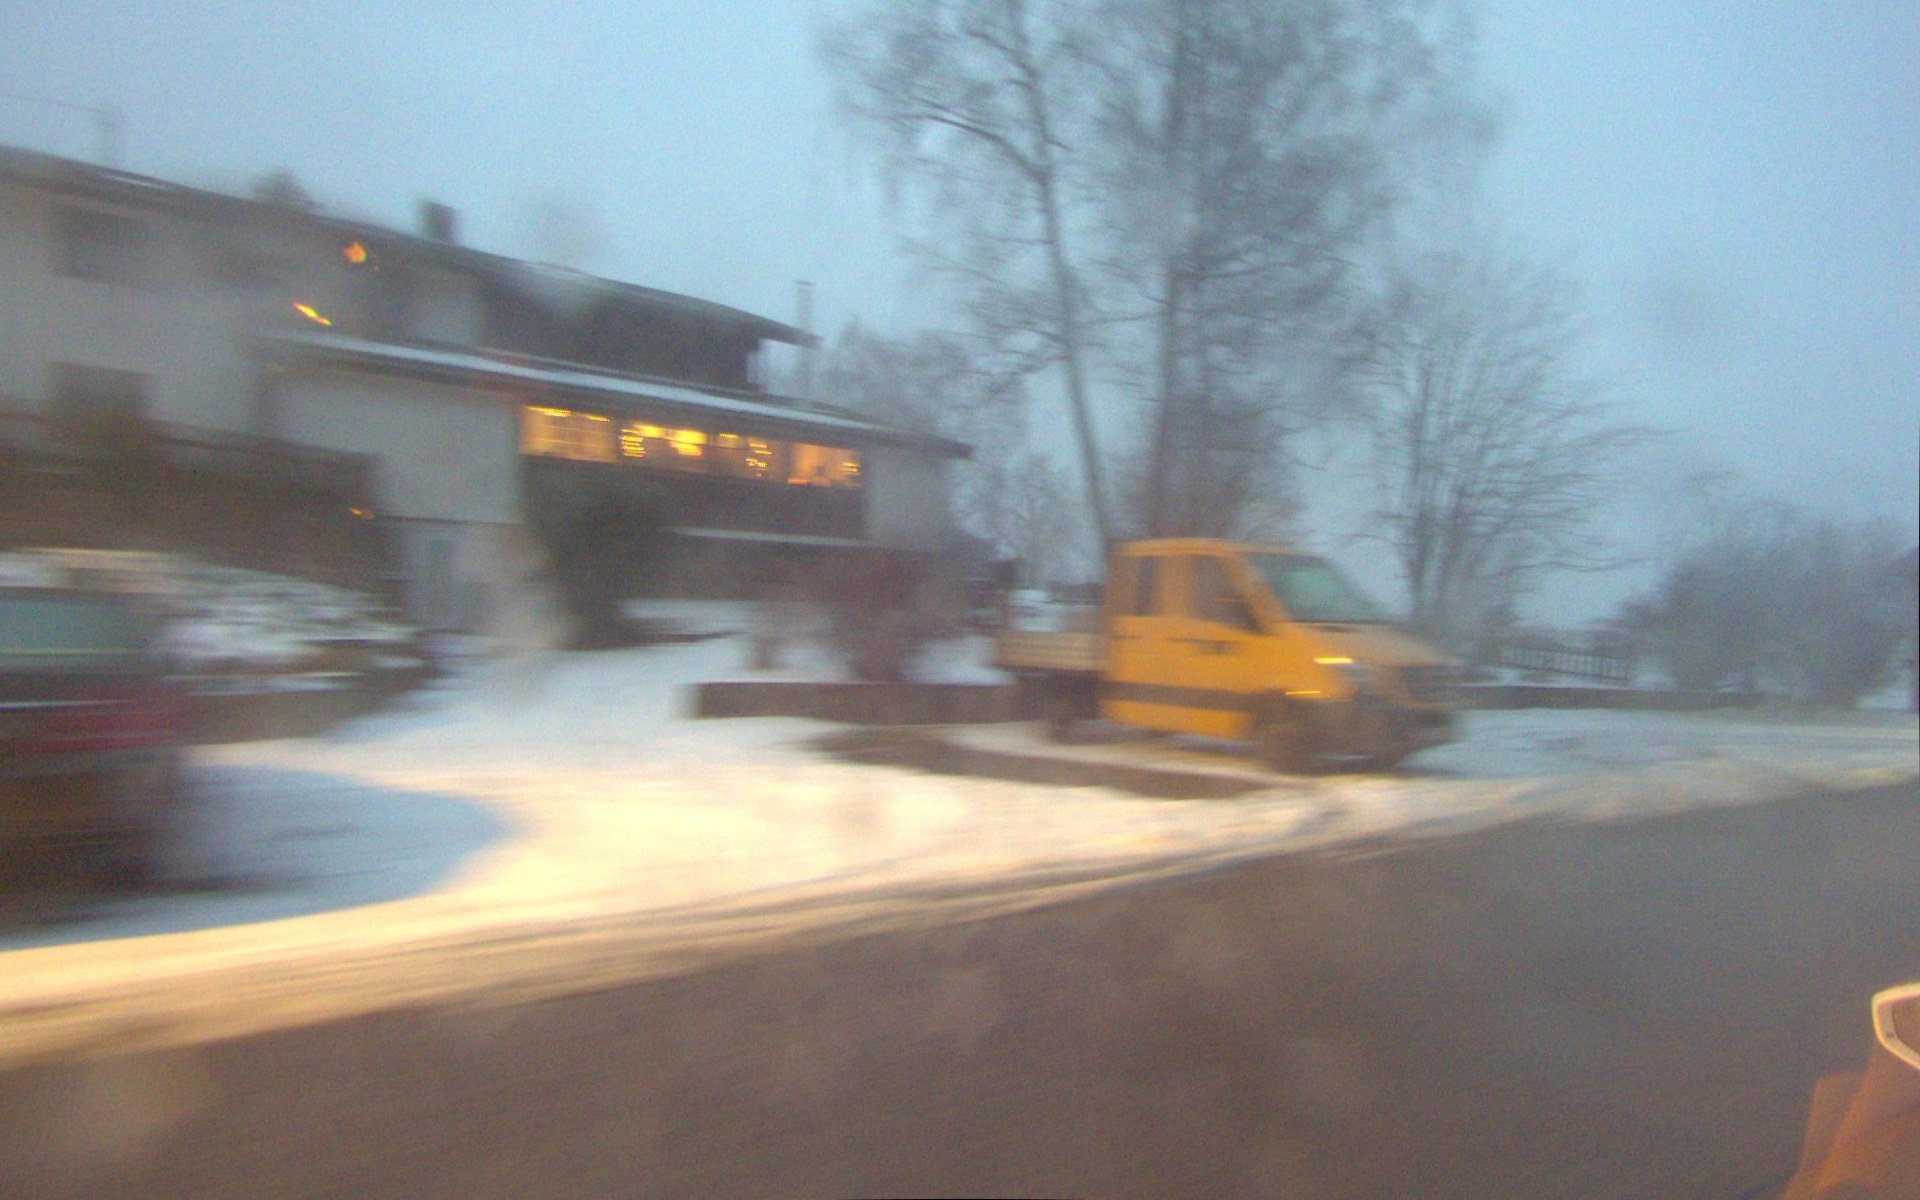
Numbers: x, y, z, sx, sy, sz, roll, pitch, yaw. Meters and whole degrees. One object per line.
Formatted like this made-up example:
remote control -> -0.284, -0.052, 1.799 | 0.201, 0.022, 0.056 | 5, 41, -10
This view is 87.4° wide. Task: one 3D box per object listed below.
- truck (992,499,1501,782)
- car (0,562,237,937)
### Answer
truck -> 2.737, 0.430, 10.969 | 1.981, 2.333, 5.225 | 1, -2, -36
car -> -5.509, 0.677, 5.839 | 2.103, 1.504, 4.854 | 1, -2, -36
